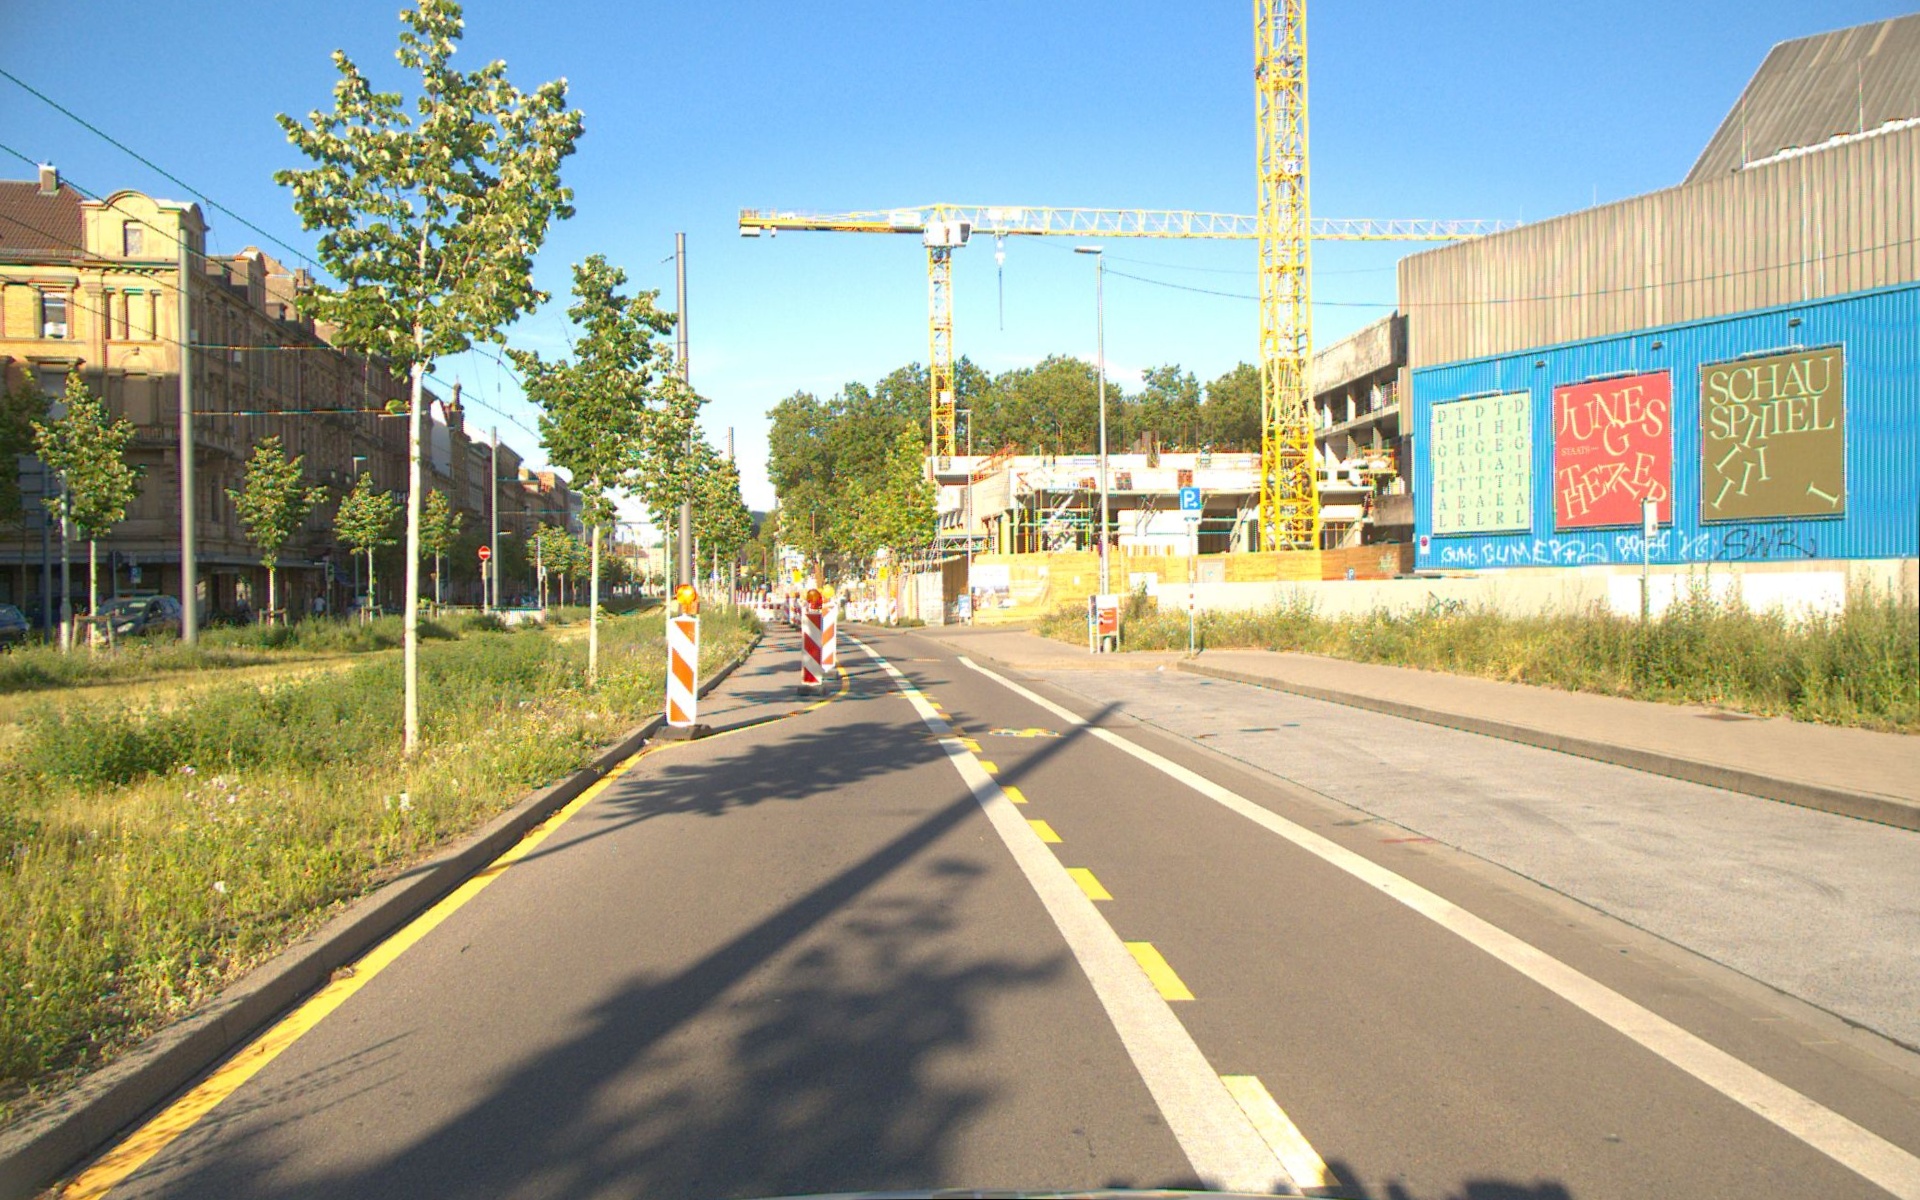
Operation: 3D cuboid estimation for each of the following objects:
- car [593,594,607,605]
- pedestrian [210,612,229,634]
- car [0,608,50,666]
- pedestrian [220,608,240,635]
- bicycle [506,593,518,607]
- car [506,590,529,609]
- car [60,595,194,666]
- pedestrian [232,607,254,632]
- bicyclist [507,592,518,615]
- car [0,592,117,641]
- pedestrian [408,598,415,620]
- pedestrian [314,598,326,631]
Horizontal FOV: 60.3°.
[{"bbox_3d":[-50.831,-0.134,233.597,1.565,1.509,3.617,-1,0,-8],"label":"car"},{"bbox_3d":[-36.217,1.117,80.922,0.677,1.078,0.734,-1,0,-9],"label":"pedestrian"},{"bbox_3d":[-26.596,1.008,44.788,1.695,1.487,3.900,1,1,0],"label":"car"},{"bbox_3d":[-35.369,1.052,80.155,0.677,1.268,0.927,-1,0,-8],"label":"pedestrian"},{"bbox_3d":[-33.588,-0.016,124.052,0.682,0.995,1.823,-1,0,-8],"label":"bicycle"},{"bbox_3d":[-39.852,-0.065,149.130,1.538,1.590,4.704,-1,1,-10],"label":"car"},{"bbox_3d":[-22.160,0.771,44.144,1.694,1.777,4.118,-1,0,-4],"label":"car"},{"bbox_3d":[-35.595,0.966,82.164,0.776,1.229,0.927,-1,0,-9],"label":"pedestrian"},{"bbox_3d":[-33.665,0.279,124.515,0.682,1.686,0.880,-1,0,-9],"label":"bicyclist"},{"bbox_3d":[-38.637,0.695,70.531,4.433,1.936,1.891,-1,0,-14],"label":"car"},{"bbox_3d":[-40.745,0.655,122.963,0.396,1.612,0.425,1,-1,-10],"label":"pedestrian"},{"bbox_3d":[-35.683,0.808,92.246,0.498,1.795,0.405,1,-1,-10],"label":"pedestrian"}]
